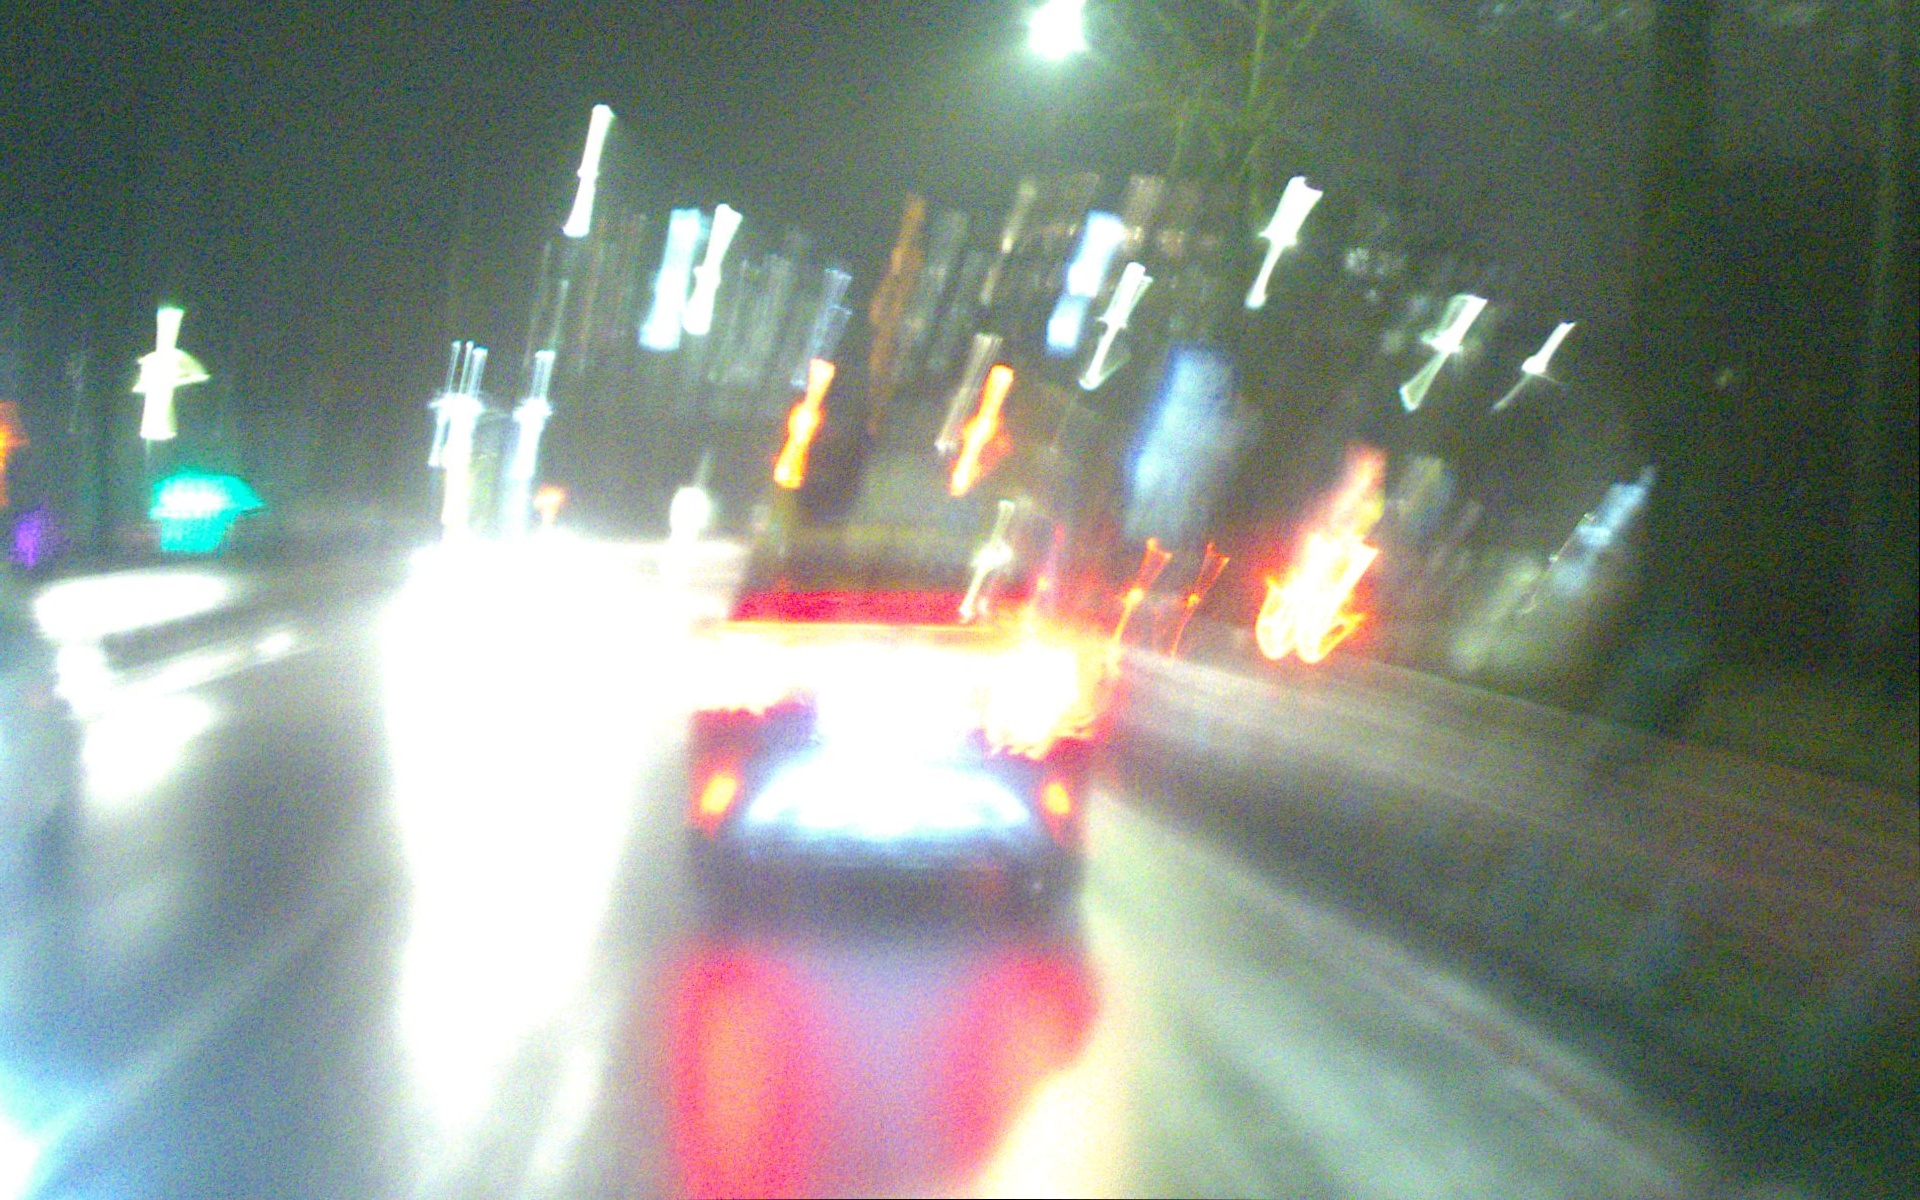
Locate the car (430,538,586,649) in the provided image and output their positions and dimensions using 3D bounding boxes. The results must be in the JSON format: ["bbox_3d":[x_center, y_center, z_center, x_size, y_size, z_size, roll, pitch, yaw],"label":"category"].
[{"bbox_3d":[-6.374,-0.128,48.831,1.823,1.398,4.037,2,1,-3],"label":"car"}]

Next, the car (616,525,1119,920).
[{"bbox_3d":[-0.311,0.449,15.815,1.993,1.519,4.000,1,2,2],"label":"car"}]

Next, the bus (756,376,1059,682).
[{"bbox_3d":[-0.421,-0.834,40.536,3.044,3.201,9.050,0,1,2],"label":"bus"}]

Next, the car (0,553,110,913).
[{"bbox_3d":[-4.764,0.523,14.176,1.759,1.426,4.329,1,1,-5],"label":"car"}]
